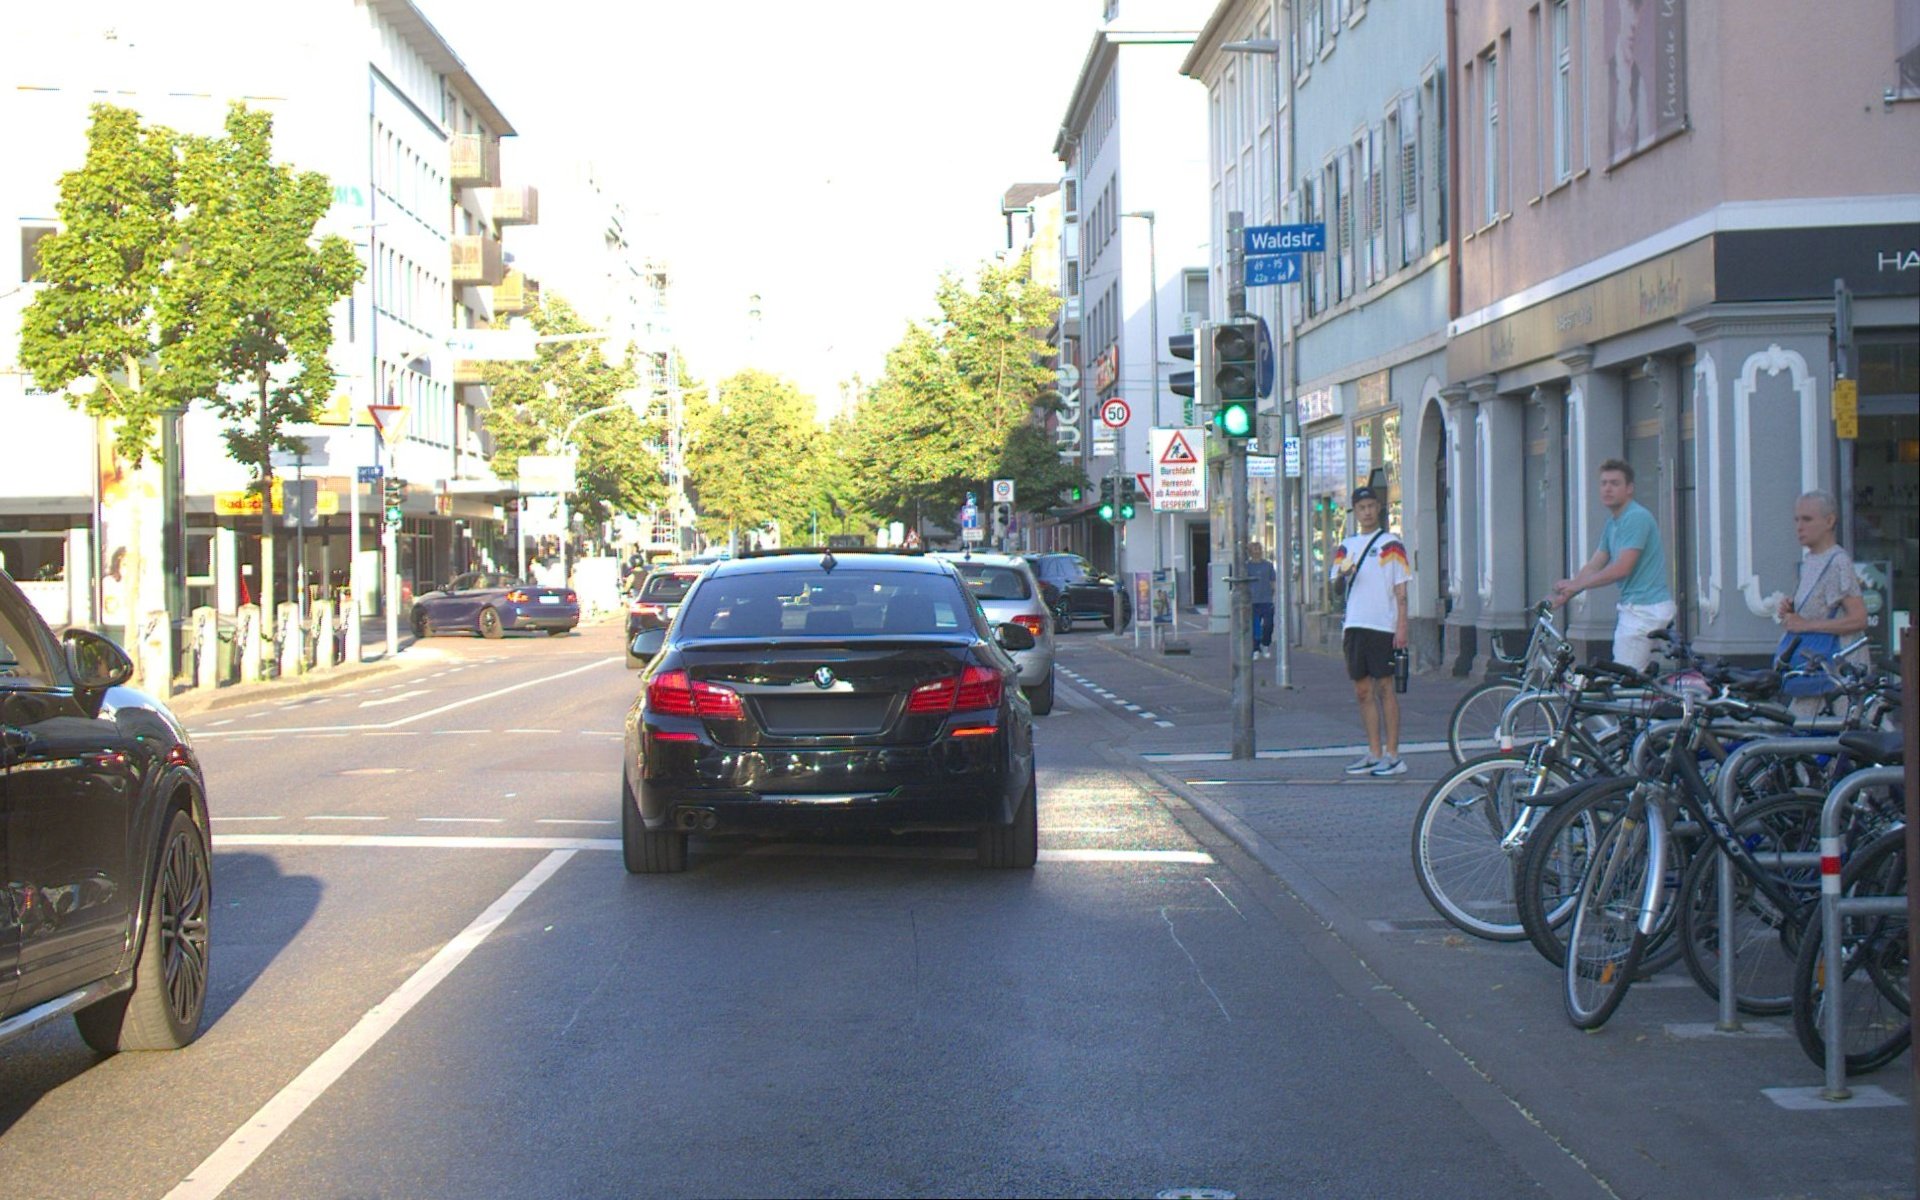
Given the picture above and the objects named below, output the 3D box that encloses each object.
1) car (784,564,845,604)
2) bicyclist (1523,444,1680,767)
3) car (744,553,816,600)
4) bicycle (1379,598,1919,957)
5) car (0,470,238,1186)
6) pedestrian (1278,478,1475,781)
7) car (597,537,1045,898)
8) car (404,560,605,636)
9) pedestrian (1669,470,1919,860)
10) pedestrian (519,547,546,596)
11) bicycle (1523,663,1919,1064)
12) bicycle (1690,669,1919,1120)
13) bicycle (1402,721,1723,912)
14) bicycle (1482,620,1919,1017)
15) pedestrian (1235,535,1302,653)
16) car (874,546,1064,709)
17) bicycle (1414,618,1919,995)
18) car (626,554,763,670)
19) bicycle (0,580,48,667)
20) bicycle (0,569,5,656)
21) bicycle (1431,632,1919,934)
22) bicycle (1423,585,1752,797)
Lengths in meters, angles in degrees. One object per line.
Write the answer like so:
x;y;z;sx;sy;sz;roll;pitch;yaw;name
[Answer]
-4.837;-0.551;114.155;1.733;1.288;4.001;0;1;-7;car
3.693;0.027;19.845;0.833;1.820;0.830;0;1;7;bicyclist
-5.640;-0.753;107.373;1.993;1.437;4.001;0;1;-7;car
2.519;0.629;12.583;1.843;1.235;0.639;-1;1;-6;bicycle
-3.275;0.551;8.573;1.948;1.708;4.562;-1;1;0;car
2.659;0.175;21.989;0.937;1.891;0.826;-1;1;-25;pedestrian
-0.672;0.462;16.871;1.903;1.535;4.450;0;1;-2;car
-9.222;-0.061;69.493;3.997;1.481;1.995;1;1;45;car
3.663;0.266;15.062;0.791;1.647;0.778;0;1;43;pedestrian
-14.547;-0.965;117.082;0.823;1.671;0.871;0;1;-2;pedestrian
2.862;0.742;10.255;2.169;1.071;0.806;-2;1;-7;bicycle
2.967;0.742;9.256;1.844;1.119;0.595;-2;0;-12;bicycle
2.466;0.876;14.178;1.004;0.679;1.051;-1;1;-10;bicycle
2.672;0.681;11.205;1.781;1.169;0.622;-2;1;-12;bicycle
4.343;-0.089;48.475;0.823;1.636;0.871;-1;1;-3;pedestrian
0.097;0.237;35.330;1.832;1.570;4.100;0;1;0;car
2.529;0.686;11.836;1.781;1.169;0.622;-2;1;-12;bicycle
-3.822;0.137;50.094;1.872;1.590;4.450;0;1;-3;car
-14.672;0.344;50.255;2.443;1.252;0.787;-1;1;1;bicycle
-14.750;0.194;48.953;2.005;1.252;0.949;-1;1;1;bicycle
2.837;0.698;13.524;1.781;1.060;0.719;-2;1;-12;bicycle
3.607;0.518;19.861;1.820;1.182;0.793;-1;1;9;bicycle
